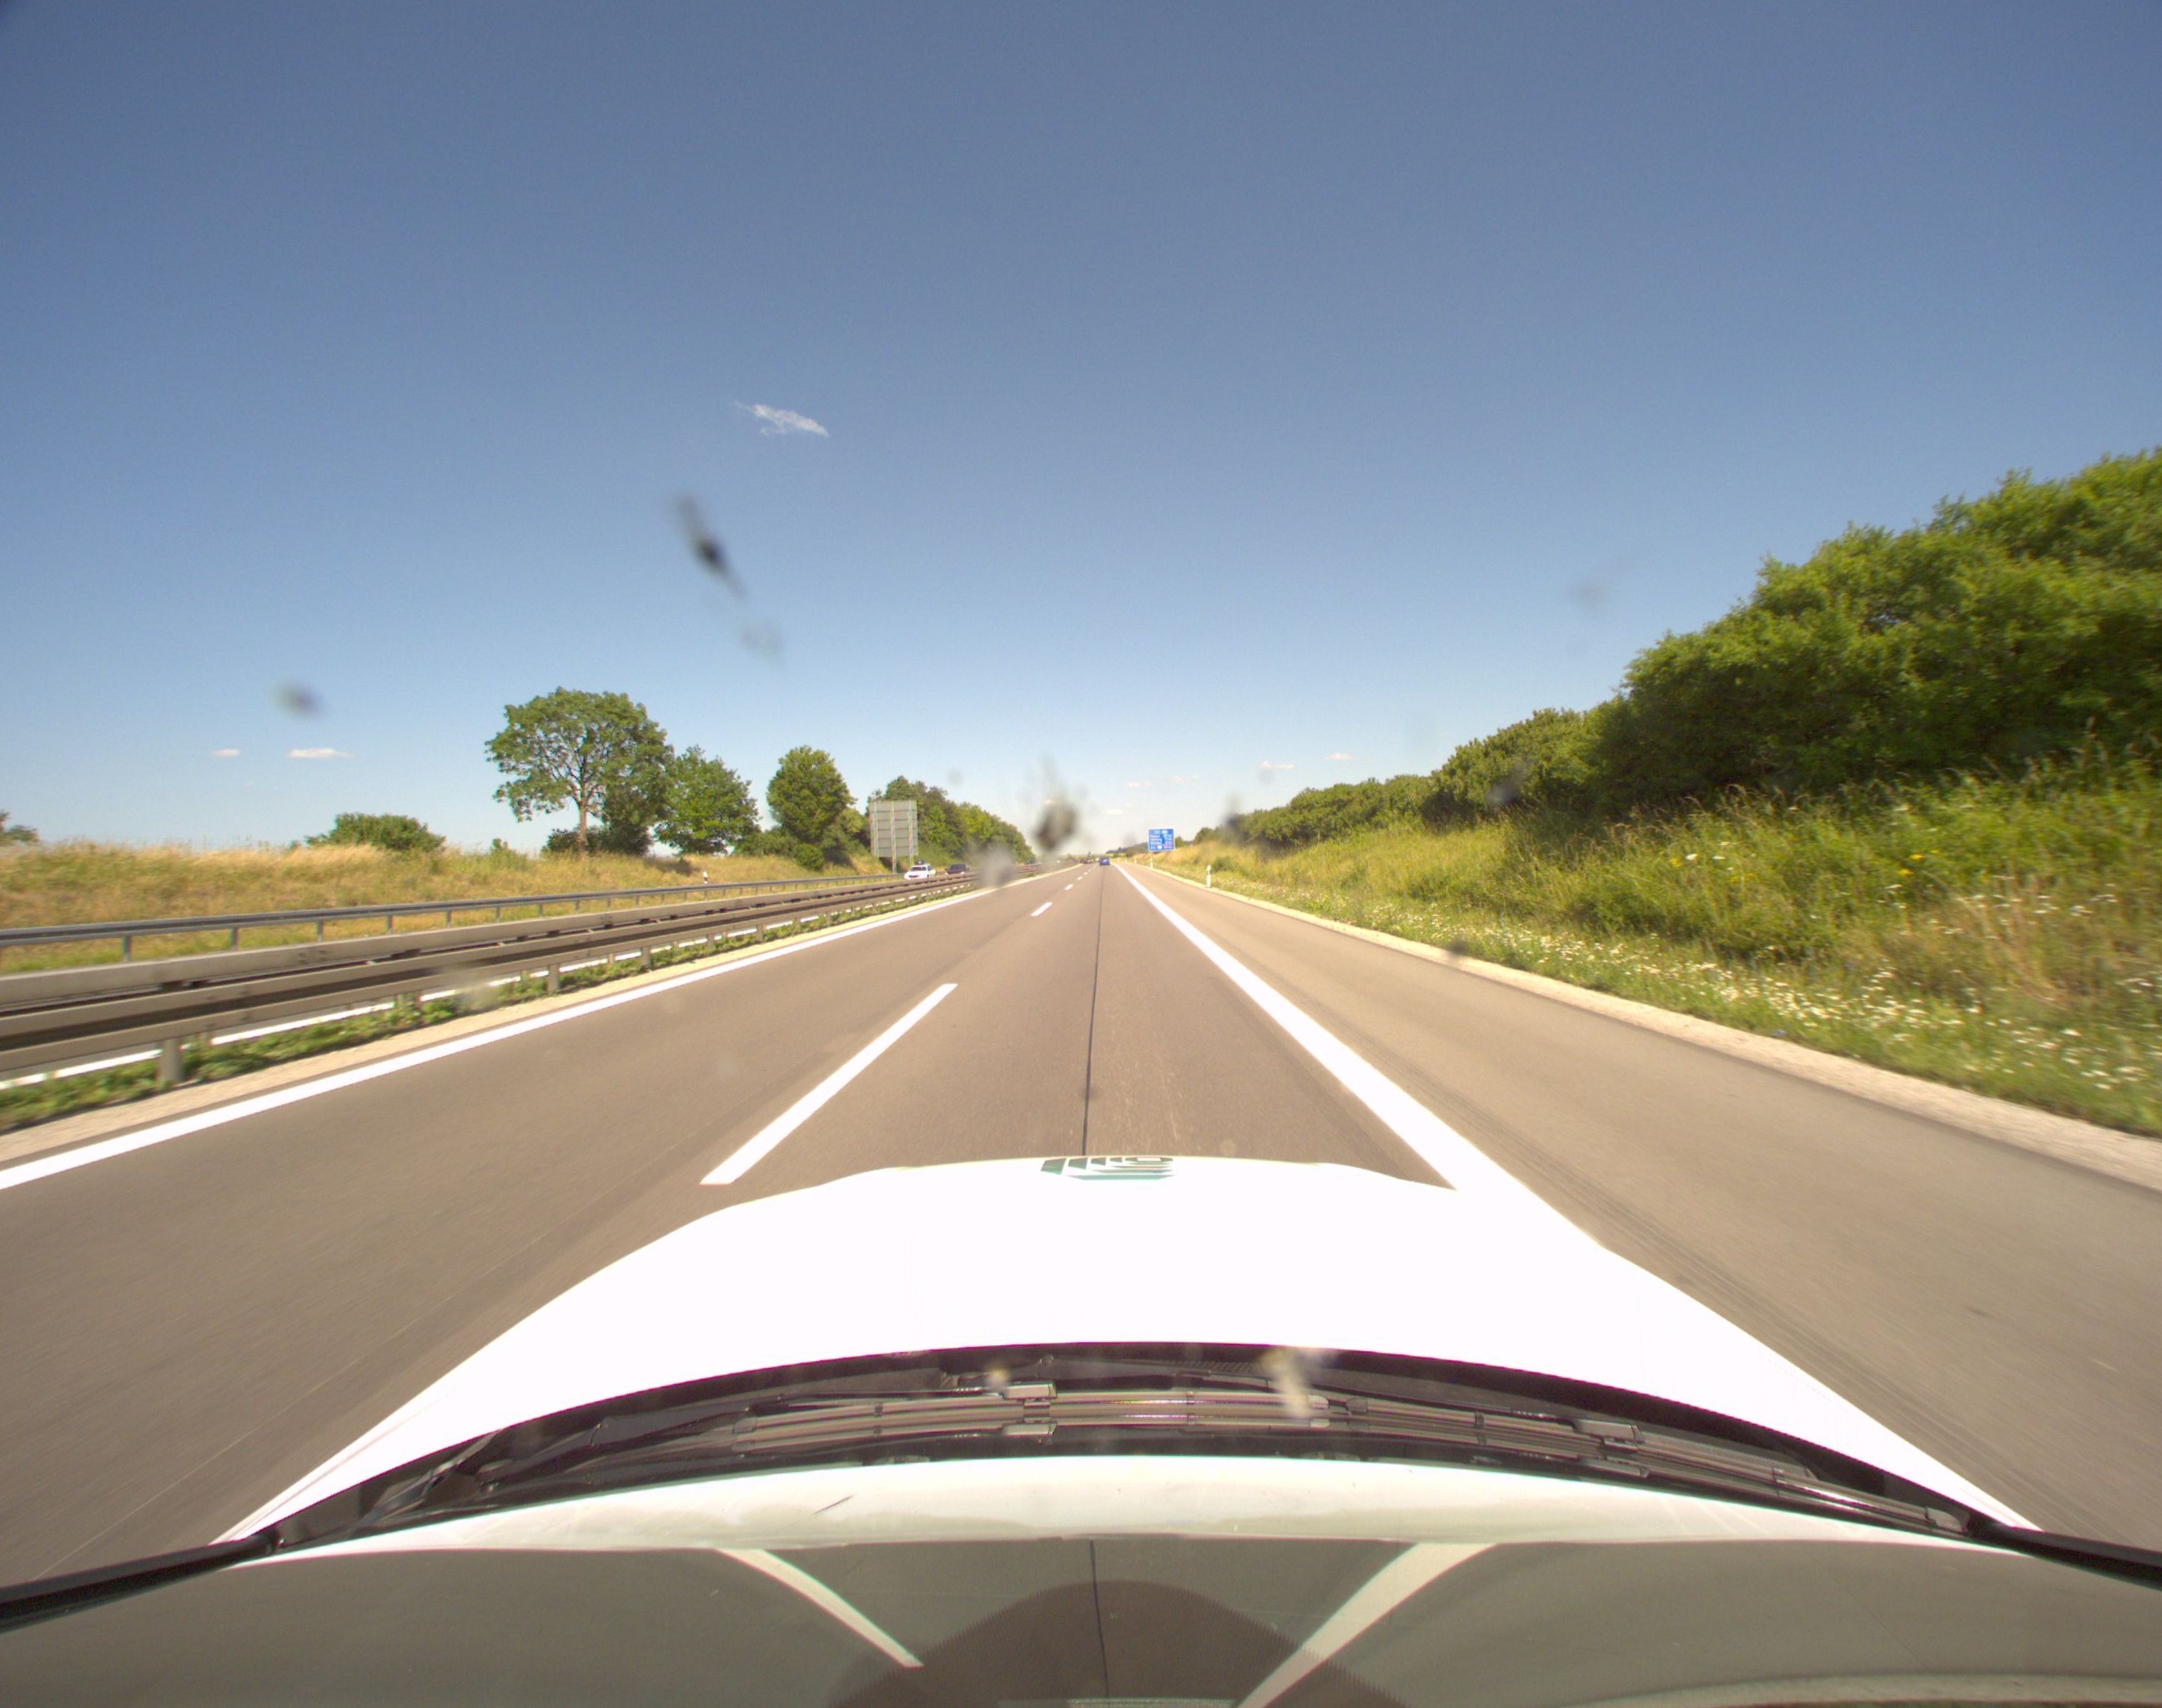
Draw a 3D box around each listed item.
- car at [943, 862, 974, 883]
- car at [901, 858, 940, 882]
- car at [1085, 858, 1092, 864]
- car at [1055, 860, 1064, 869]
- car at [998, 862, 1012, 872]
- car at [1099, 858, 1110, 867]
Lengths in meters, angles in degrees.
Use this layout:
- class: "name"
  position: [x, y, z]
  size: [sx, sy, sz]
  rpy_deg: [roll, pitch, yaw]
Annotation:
- class: "car"
  position: [-9.569, 1.453, 63.927]
  size: [1.610, 1.531, 4.002]
  rpy_deg: [-2, 0, 2]
- class: "car"
  position: [-13.215, 1.320, 67.256]
  size: [1.938, 1.845, 5.186]
  rpy_deg: [-2, 0, 2]
- class: "car"
  position: [2.117, 1.960, 222.456]
  size: [1.822, 1.453, 3.594]
  rpy_deg: [-4, -1, 2]
- class: "car"
  position: [-5.502, 2.689, 206.426]
  size: [1.986, 1.973, 5.041]
  rpy_deg: [-2, 0, 2]
- class: "car"
  position: [-11.558, 1.975, 124.550]
  size: [1.516, 1.352, 4.234]
  rpy_deg: [-2, 0, 2]
- class: "car"
  position: [4.091, 1.401, 140.669]
  size: [1.669, 1.453, 3.595]
  rpy_deg: [-4, -1, 3]
